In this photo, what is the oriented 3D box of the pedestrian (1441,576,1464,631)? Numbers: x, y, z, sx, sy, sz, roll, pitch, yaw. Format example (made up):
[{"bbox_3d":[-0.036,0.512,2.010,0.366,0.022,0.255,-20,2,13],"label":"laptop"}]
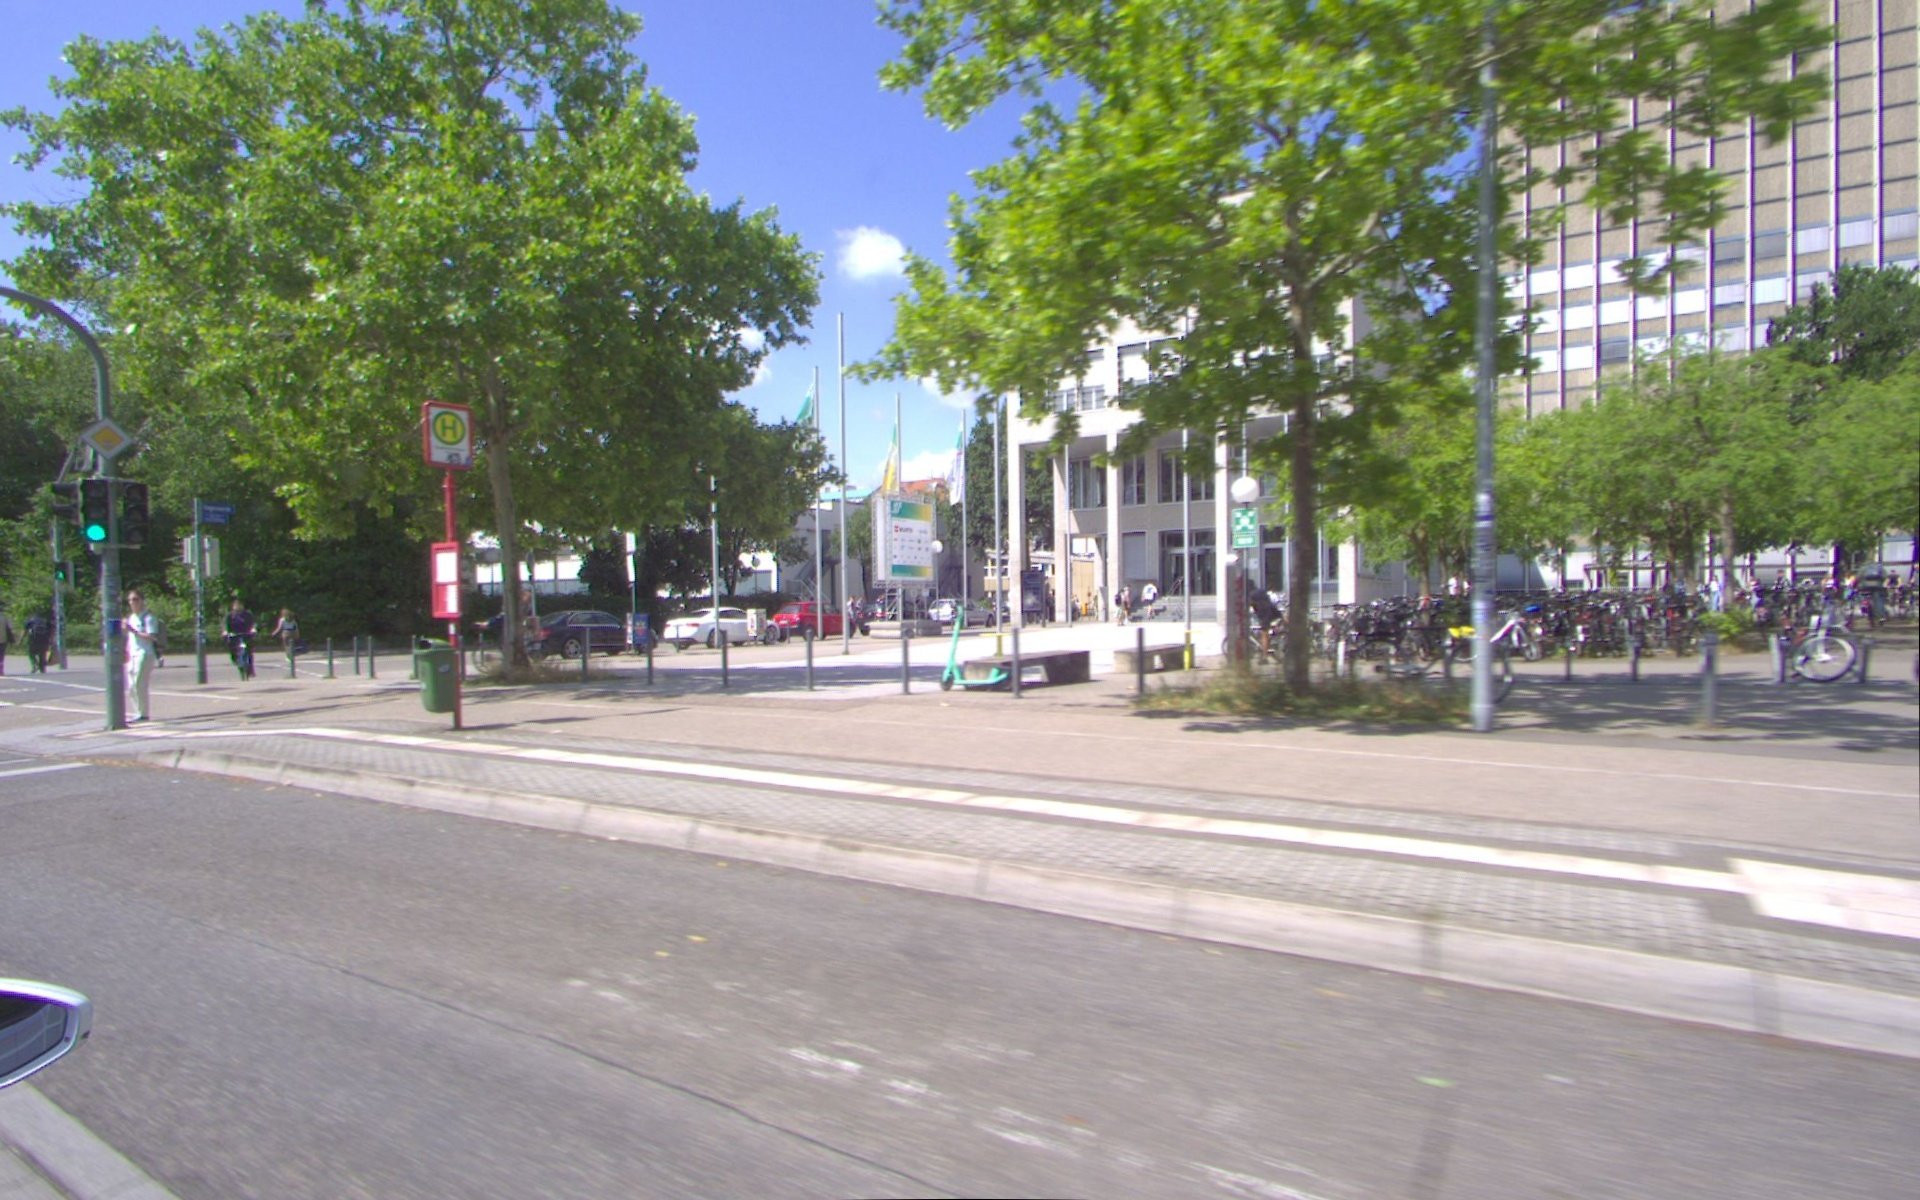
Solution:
[{"bbox_3d":[20.347,0.155,41.363,0.622,2.258,0.716,0,-1,1],"label":"pedestrian"}]

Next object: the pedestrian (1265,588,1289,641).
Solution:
[{"bbox_3d":[10.799,0.490,34.111,0.624,1.769,0.713,0,-1,29],"label":"pedestrian"}]

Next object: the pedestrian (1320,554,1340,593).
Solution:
[{"bbox_3d":[17.673,-1.257,47.830,0.710,1.821,0.712,0,-1,34],"label":"pedestrian"}]

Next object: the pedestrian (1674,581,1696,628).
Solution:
[{"bbox_3d":[35.280,0.239,48.728,0.627,2.258,0.710,1,-1,-40],"label":"pedestrian"}]

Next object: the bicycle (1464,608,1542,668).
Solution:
[{"bbox_3d":[10.680,0.724,19.766,0.592,1.113,1.767,0,0,1],"label":"bicycle"}]

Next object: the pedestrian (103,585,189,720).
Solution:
[{"bbox_3d":[-11.420,0.719,14.063,0.599,1.826,0.595,-2,3,-3],"label":"pedestrian"}]

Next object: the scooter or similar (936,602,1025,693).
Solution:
[{"bbox_3d":[0.267,0.630,13.423,1.175,1.180,0.352,-1,-1,32],"label":"scooter or similar"}]

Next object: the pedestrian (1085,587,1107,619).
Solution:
[{"bbox_3d":[7.769,0.169,57.142,0.907,1.763,0.996,0,1,31],"label":"pedestrian"}]

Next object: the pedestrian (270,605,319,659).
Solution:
[{"bbox_3d":[-21.294,1.016,32.050,1.003,1.649,0.855,1,3,22],"label":"pedestrian"}]

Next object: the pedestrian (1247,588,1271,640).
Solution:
[{"bbox_3d":[10.270,0.498,34.386,0.624,1.769,0.713,0,-1,29],"label":"pedestrian"}]

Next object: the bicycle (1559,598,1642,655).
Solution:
[{"bbox_3d":[13.125,0.519,20.592,0.592,1.113,1.767,0,1,1],"label":"bicycle"}]

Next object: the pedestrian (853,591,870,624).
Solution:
[{"bbox_3d":[-5.803,0.445,58.904,0.725,1.951,0.779,-1,1,-36],"label":"pedestrian"}]

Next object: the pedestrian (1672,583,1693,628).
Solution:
[{"bbox_3d":[36.370,0.285,50.431,0.627,2.258,0.710,1,-1,-40],"label":"pedestrian"}]

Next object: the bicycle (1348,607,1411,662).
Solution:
[{"bbox_3d":[8.755,0.715,20.959,0.592,1.113,1.768,0,-1,1],"label":"bicycle"}]

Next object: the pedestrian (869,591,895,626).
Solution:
[{"bbox_3d":[-4.454,0.486,57.146,1.083,1.945,1.015,0,1,32],"label":"pedestrian"}]

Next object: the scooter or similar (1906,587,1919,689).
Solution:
[{"bbox_3d":[11.726,0.456,11.798,0.276,1.249,1.296,-2,-1,17],"label":"scooter or similar"}]

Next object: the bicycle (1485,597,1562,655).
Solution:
[{"bbox_3d":[11.325,0.504,20.189,0.592,1.113,1.767,-1,0,1],"label":"bicycle"}]

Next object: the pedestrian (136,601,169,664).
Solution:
[{"bbox_3d":[-23.974,0.943,29.742,0.695,1.845,0.667,1,1,43],"label":"pedestrian"}]

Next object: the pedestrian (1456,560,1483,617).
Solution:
[{"bbox_3d":[20.575,-0.450,40.477,0.622,2.258,0.855,0,-1,-3],"label":"pedestrian"}]

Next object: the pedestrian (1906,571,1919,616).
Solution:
[{"bbox_3d":[38.911,-0.261,40.484,0.702,1.800,0.634,0,-1,1],"label":"pedestrian"}]

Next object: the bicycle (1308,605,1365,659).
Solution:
[{"bbox_3d":[8.104,0.691,21.643,0.592,1.113,1.768,0,-1,1],"label":"bicycle"}]

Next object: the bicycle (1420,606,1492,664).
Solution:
[{"bbox_3d":[9.875,0.688,19.990,0.592,1.113,1.768,0,-1,1],"label":"bicycle"}]

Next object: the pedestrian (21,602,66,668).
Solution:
[{"bbox_3d":[-24.735,0.929,27.016,1.169,1.727,0.791,1,1,43],"label":"pedestrian"}]

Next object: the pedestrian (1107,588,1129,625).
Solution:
[{"bbox_3d":[6.978,0.286,44.182,0.710,1.606,0.712,0,-1,34],"label":"pedestrian"}]

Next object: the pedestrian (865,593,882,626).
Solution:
[{"bbox_3d":[-5.055,0.551,58.839,0.714,1.951,0.749,0,1,23],"label":"pedestrian"}]

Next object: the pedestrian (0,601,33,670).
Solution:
[{"bbox_3d":[-24.260,0.884,25.567,1.169,1.727,0.791,1,1,43],"label":"pedestrian"}]

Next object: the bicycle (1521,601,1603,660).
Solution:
[{"bbox_3d":[12.051,0.591,20.100,0.592,1.114,1.767,0,1,1],"label":"bicycle"}]

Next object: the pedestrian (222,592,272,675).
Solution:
[{"bbox_3d":[-16.225,0.755,22.815,0.845,1.843,1.169,-1,0,-33],"label":"pedestrian"}]

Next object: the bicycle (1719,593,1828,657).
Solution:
[{"bbox_3d":[14.909,0.462,18.418,0.592,1.113,1.768,0,-1,1],"label":"bicycle"}]

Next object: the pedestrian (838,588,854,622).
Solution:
[{"bbox_3d":[-6.696,0.284,58.805,0.586,1.951,0.780,-1,1,-36],"label":"pedestrian"}]

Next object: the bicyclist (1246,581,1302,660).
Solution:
[{"bbox_3d":[6.520,0.421,20.813,0.915,1.585,0.663,-1,1,-1],"label":"bicyclist"}]

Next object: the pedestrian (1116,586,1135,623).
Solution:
[{"bbox_3d":[7.838,0.224,47.371,0.625,1.687,0.712,0,-1,34],"label":"pedestrian"}]

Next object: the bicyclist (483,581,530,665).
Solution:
[{"bbox_3d":[-10.158,0.515,22.456,0.747,1.869,0.663,0,-1,2],"label":"bicyclist"}]
